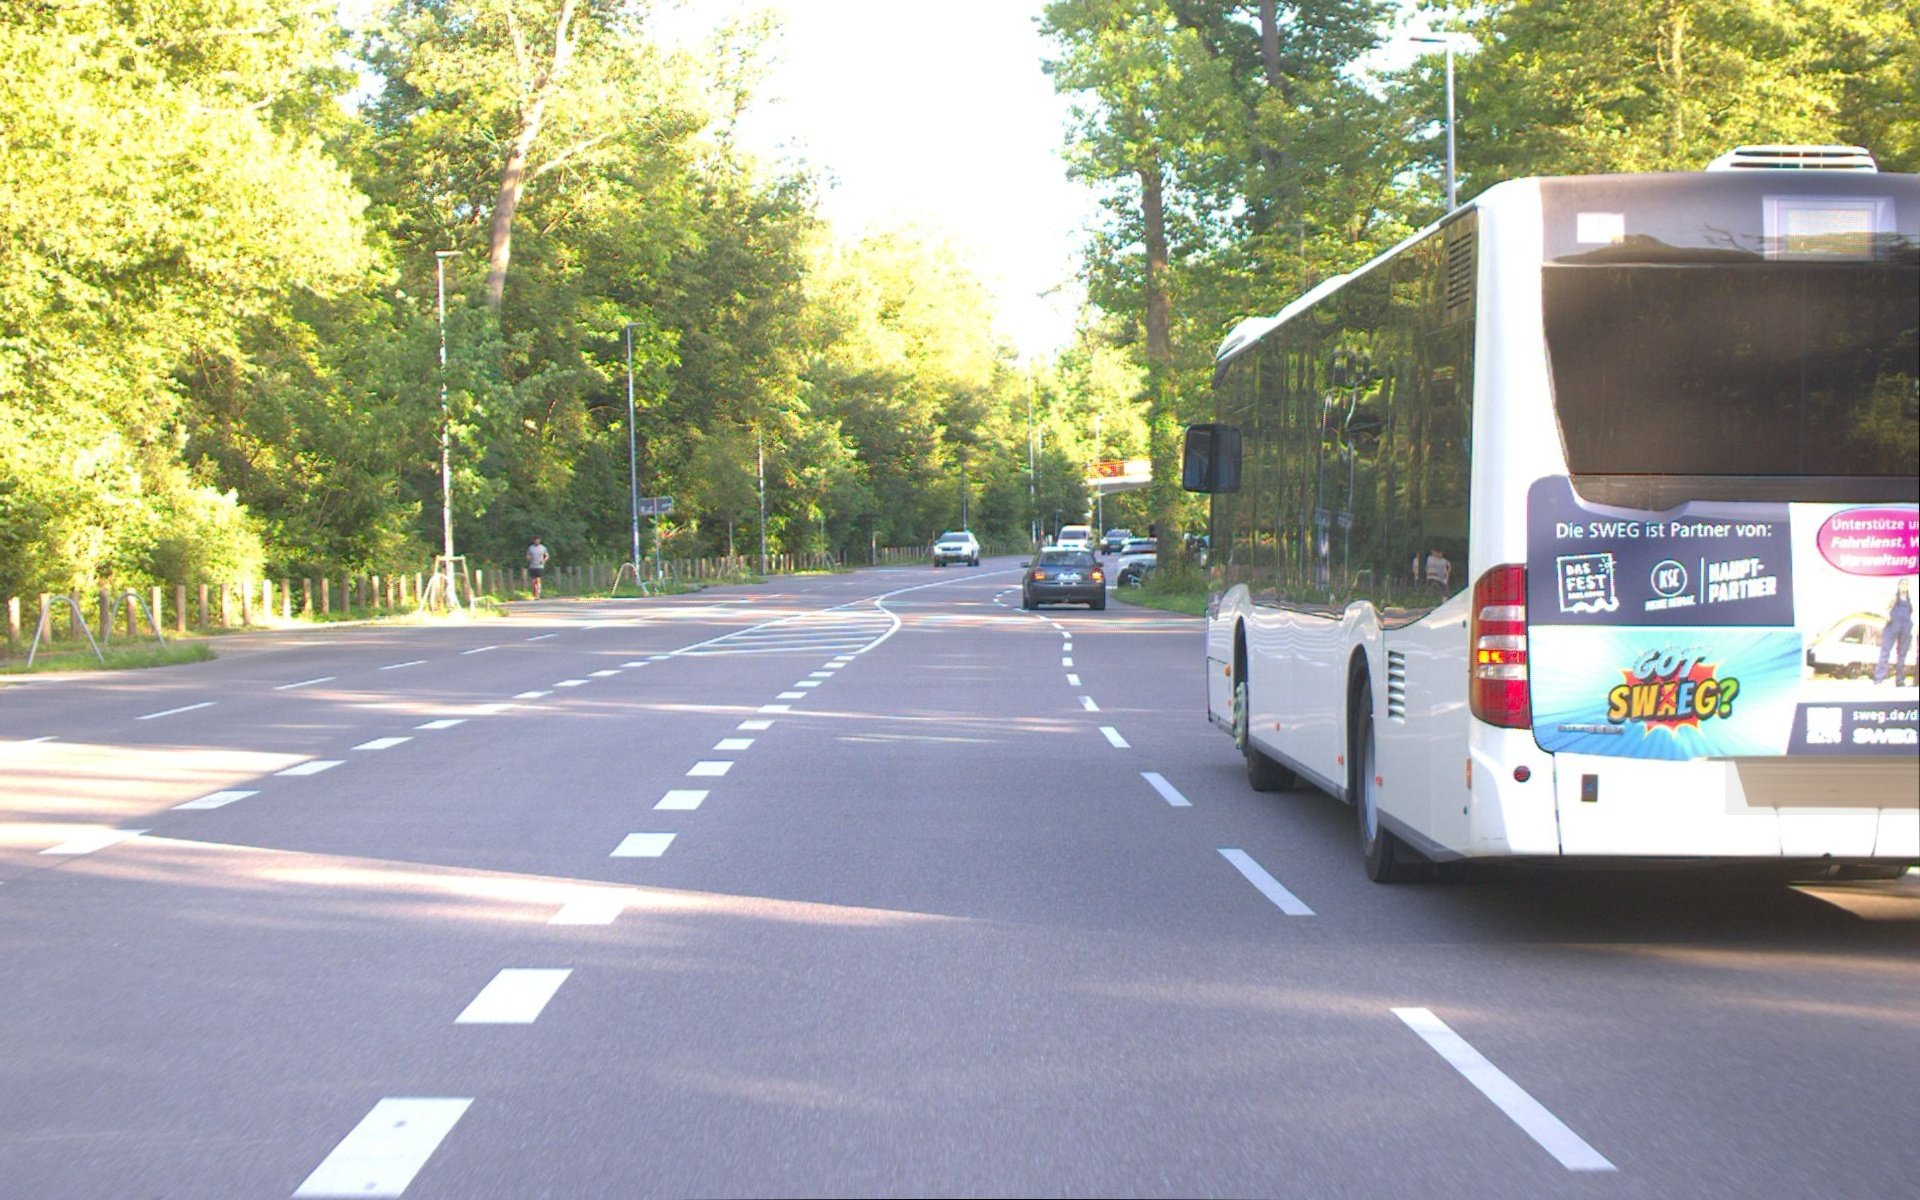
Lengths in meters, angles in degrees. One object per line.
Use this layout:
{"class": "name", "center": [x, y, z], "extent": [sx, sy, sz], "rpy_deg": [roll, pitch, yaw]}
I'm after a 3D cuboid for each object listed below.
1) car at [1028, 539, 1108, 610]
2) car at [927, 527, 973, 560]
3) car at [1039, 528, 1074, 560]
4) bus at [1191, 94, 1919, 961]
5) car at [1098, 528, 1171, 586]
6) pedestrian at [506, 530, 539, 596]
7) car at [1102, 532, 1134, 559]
{"class": "car", "center": [2.441, -0.577, 77.121], "extent": [1.632, 1.542, 4.131], "rpy_deg": [0, 1, 4]}
{"class": "car", "center": [-0.458, -2.628, 161.009], "extent": [1.863, 1.532, 4.131], "rpy_deg": [0, 1, 4]}
{"class": "car", "center": [5.148, -2.984, 184.233], "extent": [1.863, 1.723, 4.000], "rpy_deg": [0, 1, 1]}
{"class": "bus", "center": [3.028, -0.324, 18.069], "extent": [2.689, 3.032, 12.042], "rpy_deg": [0, 1, -1]}
{"class": "car", "center": [5.144, -1.256, 100.951], "extent": [1.632, 1.653, 4.130], "rpy_deg": [0, 1, 10]}
{"class": "pedestrian", "center": [-12.065, -1.028, 94.805], "extent": [0.779, 1.806, 0.770], "rpy_deg": [0, 1, 0]}
{"class": "car", "center": [9.627, -3.323, 209.296], "extent": [1.863, 1.560, 4.000], "rpy_deg": [-2, 1, 2]}
